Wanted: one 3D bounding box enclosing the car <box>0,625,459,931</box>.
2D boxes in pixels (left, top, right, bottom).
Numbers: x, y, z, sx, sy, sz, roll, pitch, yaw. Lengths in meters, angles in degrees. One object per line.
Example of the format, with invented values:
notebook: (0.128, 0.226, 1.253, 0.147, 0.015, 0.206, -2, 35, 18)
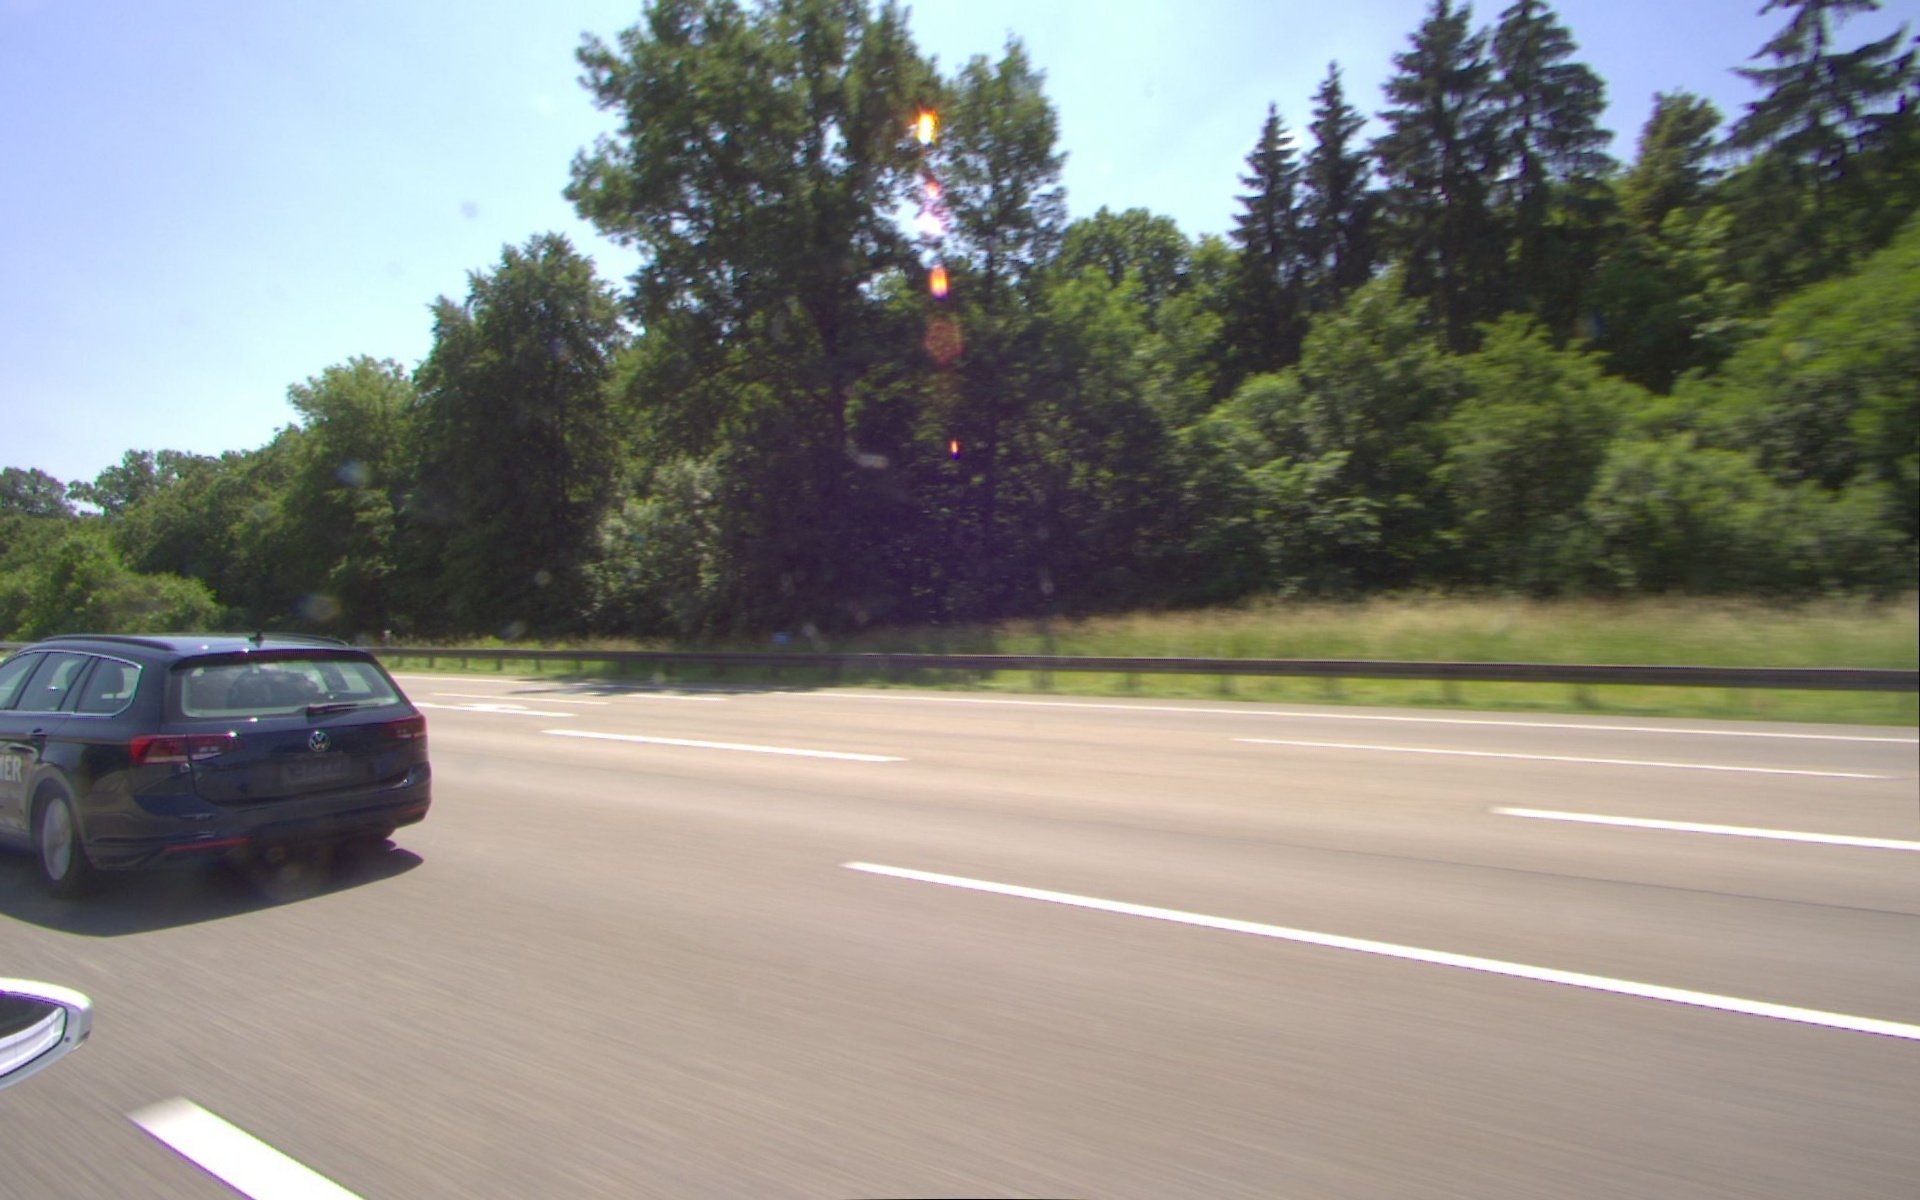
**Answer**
car: (-5.663, 0.914, 6.917, 4.891, 1.466, 1.726, -1, -1, 33)
